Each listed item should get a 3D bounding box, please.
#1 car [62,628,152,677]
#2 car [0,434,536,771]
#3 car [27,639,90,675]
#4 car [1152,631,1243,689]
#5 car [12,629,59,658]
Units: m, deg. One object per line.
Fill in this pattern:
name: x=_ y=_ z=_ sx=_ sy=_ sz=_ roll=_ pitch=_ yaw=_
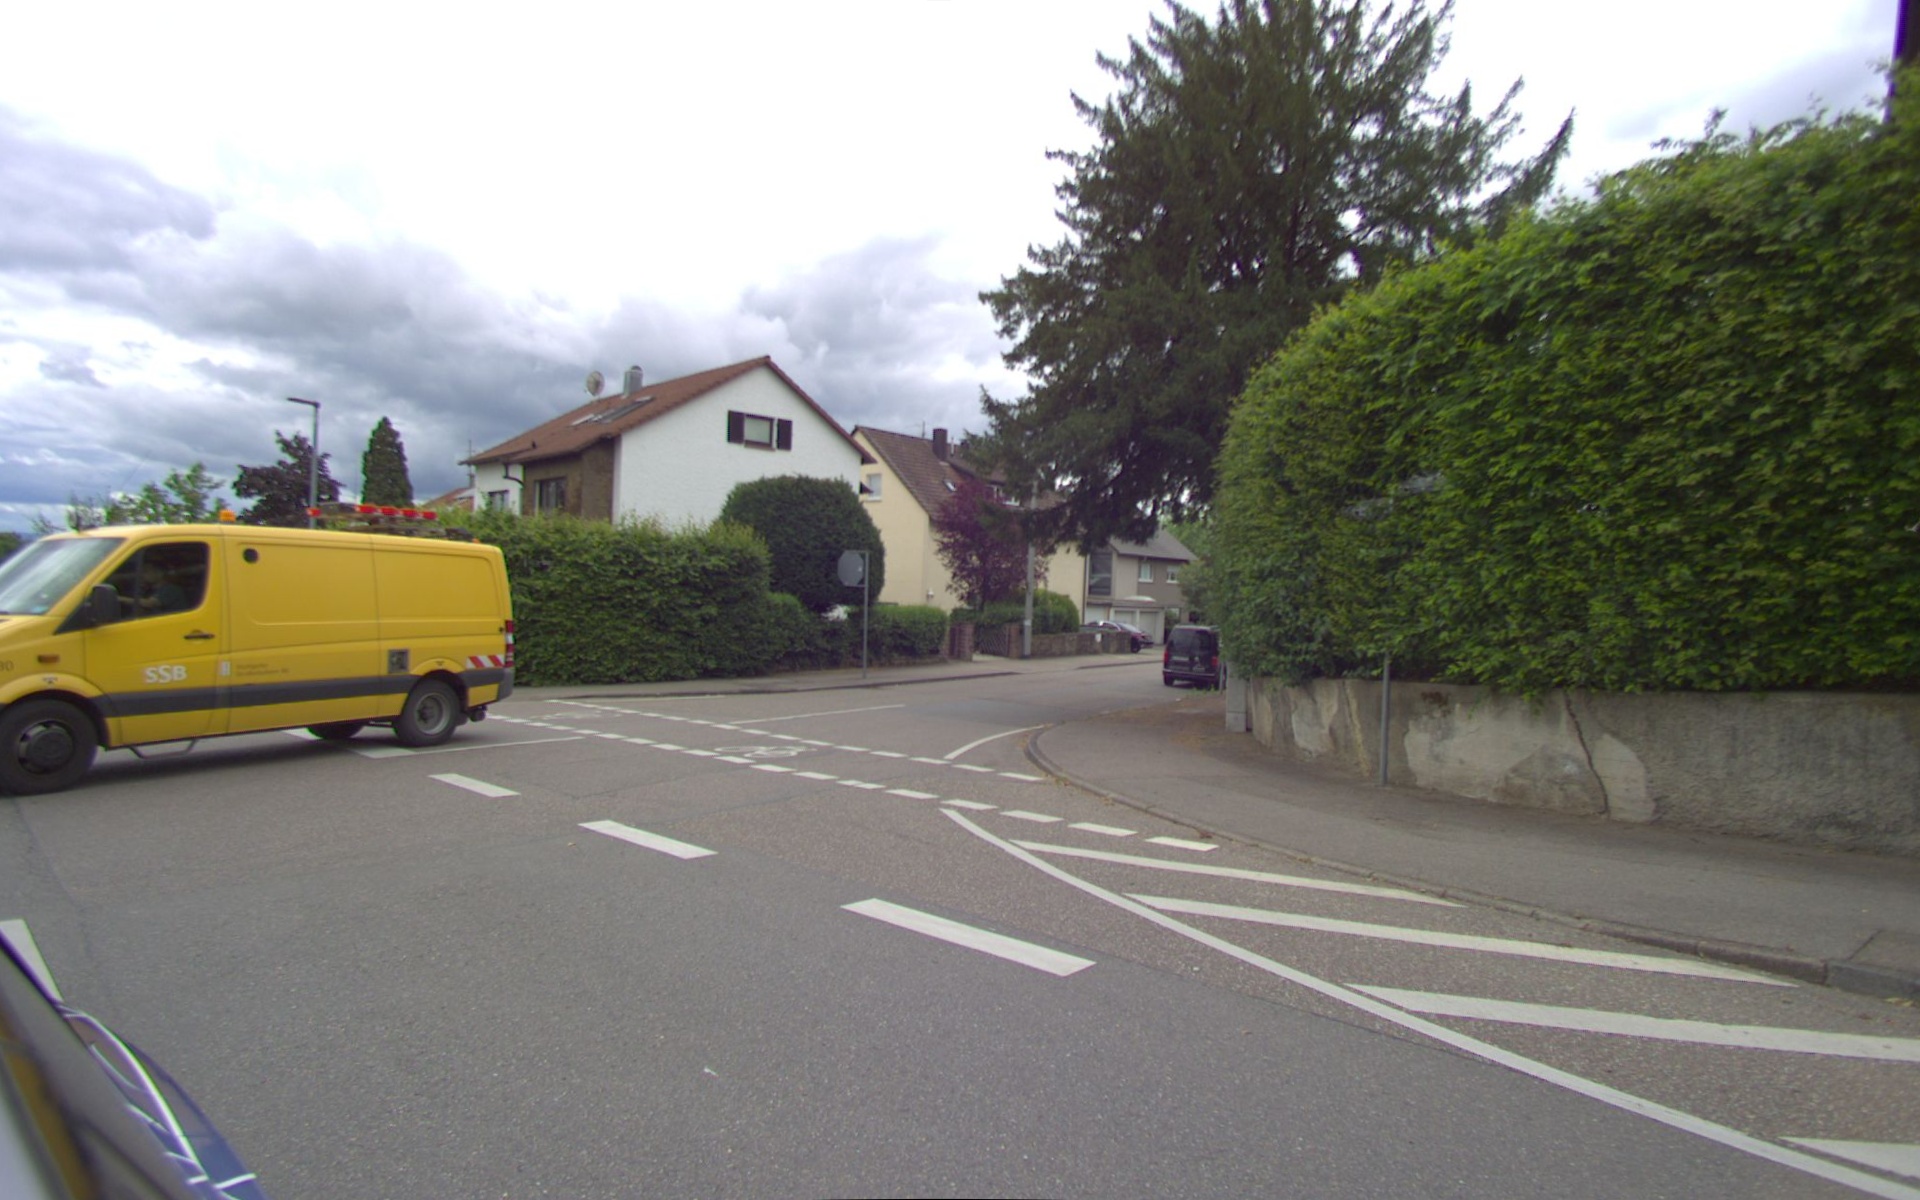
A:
car: x=-28.044 y=1.710 z=33.229 sx=4.344 sy=1.501 sz=1.864 roll=-3 pitch=-3 yaw=45
car: x=-7.627 y=0.116 z=10.336 sx=2.354 sy=2.621 sz=6.091 roll=-2 pitch=-3 yaw=25
car: x=-41.863 y=2.622 z=46.962 sx=4.007 sy=1.561 sz=1.918 roll=-3 pitch=-3 yaw=45
car: x=7.269 y=1.788 z=30.703 sx=1.817 sy=1.637 sz=4.045 roll=-1 pitch=-3 yaw=26
car: x=-58.042 y=2.699 z=63.517 sx=4.002 sy=1.541 sz=1.909 roll=0 pitch=2 yaw=45
